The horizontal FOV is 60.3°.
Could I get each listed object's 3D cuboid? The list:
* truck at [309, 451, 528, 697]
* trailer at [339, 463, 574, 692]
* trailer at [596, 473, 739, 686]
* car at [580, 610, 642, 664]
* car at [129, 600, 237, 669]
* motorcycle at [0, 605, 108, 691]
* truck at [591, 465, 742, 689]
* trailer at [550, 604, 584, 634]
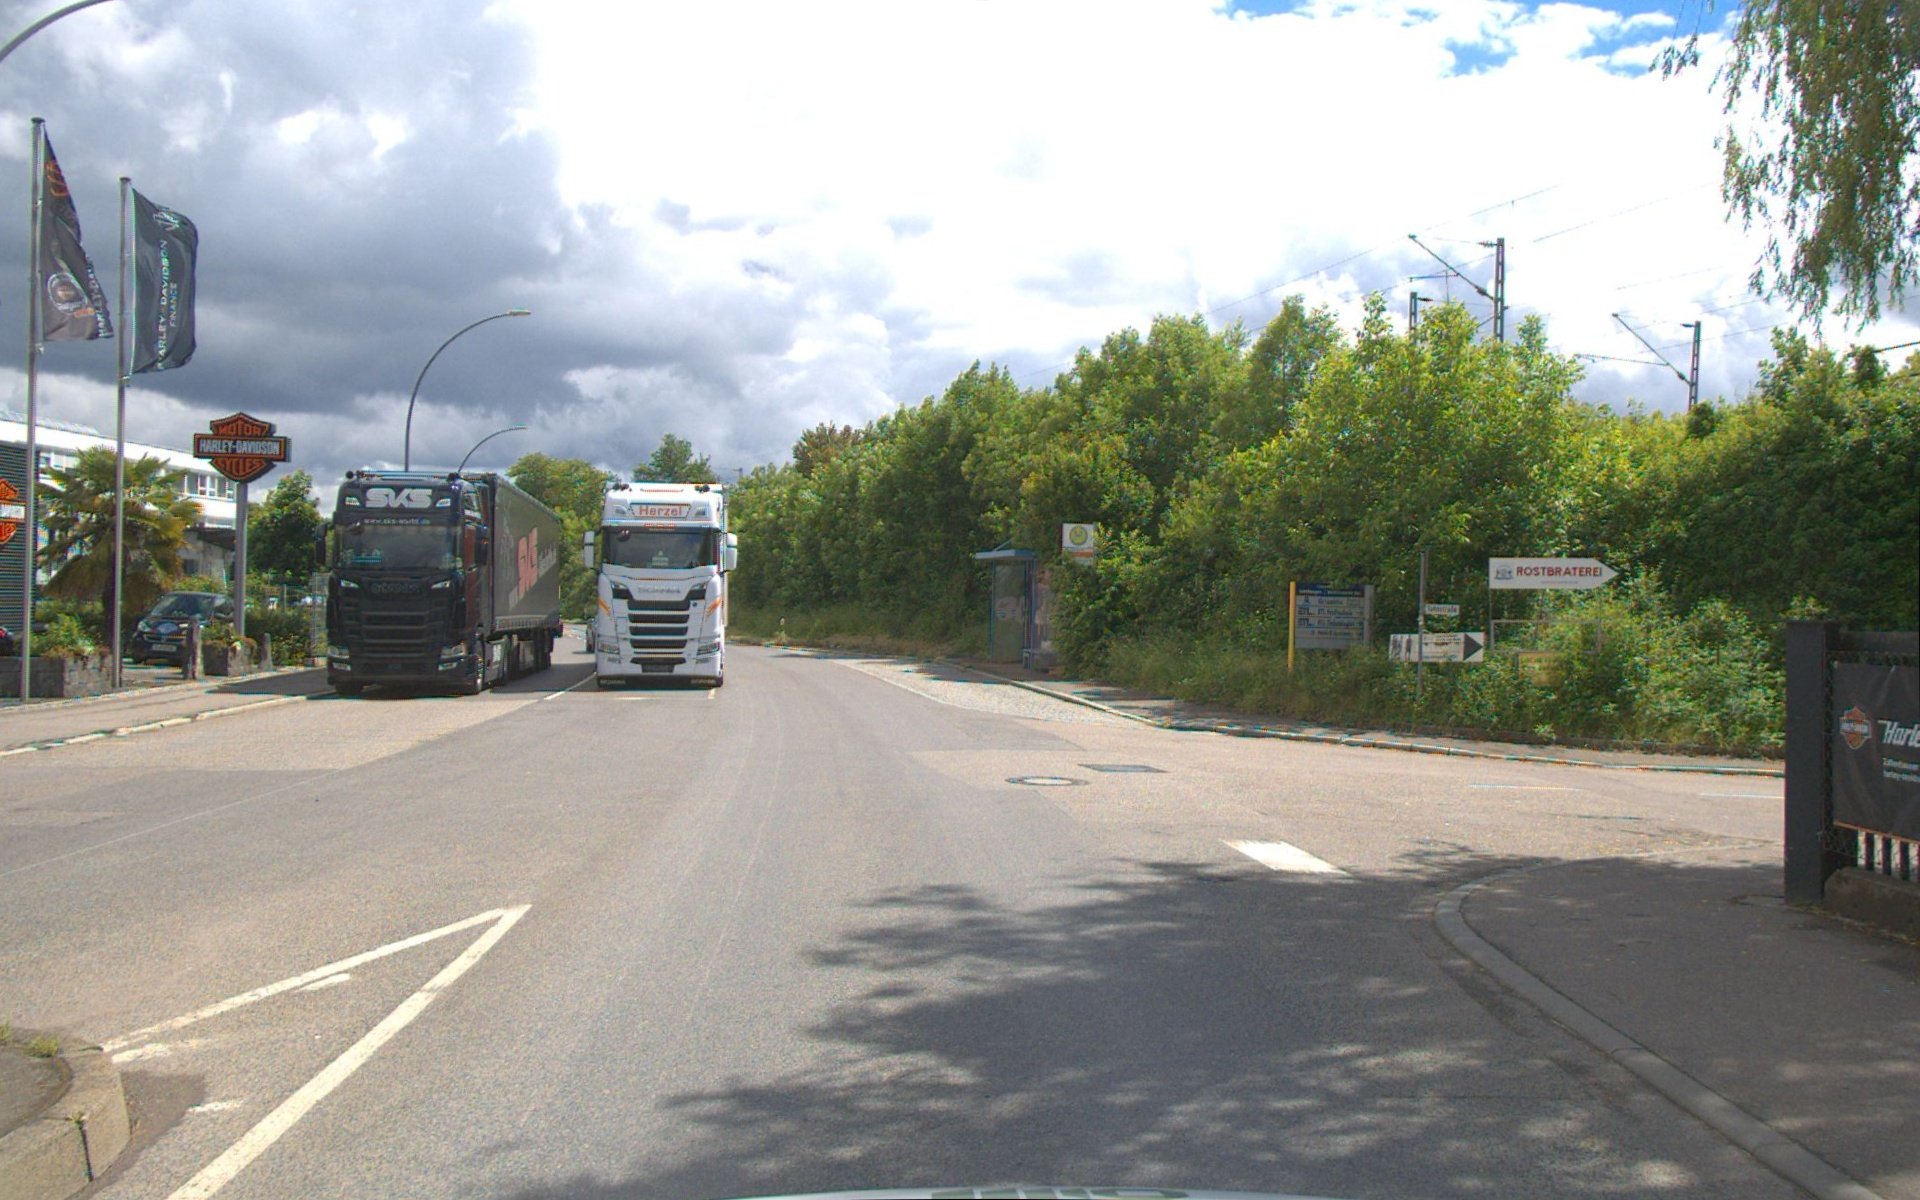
[{"bbox_3d":[-10.045,-0.394,31.369,2.747,4.124,6.488,1,-1,-8],"label":"truck"},{"bbox_3d":[-11.026,-0.319,38.074,2.747,4.124,15.525,1,-1,-8],"label":"trailer"},{"bbox_3d":[-7.268,-0.320,40.847,2.721,4.217,15.310,2,-1,-10],"label":"trailer"},{"bbox_3d":[-12.074,1.260,57.060,1.959,1.736,3.986,2,-1,-13],"label":"car"},{"bbox_3d":[-16.518,0.725,35.259,1.023,1.388,2.686,1,-1,-1],"label":"car"},{"bbox_3d":[-15.091,0.745,26.379,2.512,1.329,0.848,1,-1,-3],"label":"motorcycle"},{"bbox_3d":[-6.023,-0.392,33.926,2.721,4.191,4.973,2,-1,-11],"label":"truck"},{"bbox_3d":[-19.756,0.948,83.268,1.619,1.448,3.987,0,0,-13],"label":"trailer"}]
